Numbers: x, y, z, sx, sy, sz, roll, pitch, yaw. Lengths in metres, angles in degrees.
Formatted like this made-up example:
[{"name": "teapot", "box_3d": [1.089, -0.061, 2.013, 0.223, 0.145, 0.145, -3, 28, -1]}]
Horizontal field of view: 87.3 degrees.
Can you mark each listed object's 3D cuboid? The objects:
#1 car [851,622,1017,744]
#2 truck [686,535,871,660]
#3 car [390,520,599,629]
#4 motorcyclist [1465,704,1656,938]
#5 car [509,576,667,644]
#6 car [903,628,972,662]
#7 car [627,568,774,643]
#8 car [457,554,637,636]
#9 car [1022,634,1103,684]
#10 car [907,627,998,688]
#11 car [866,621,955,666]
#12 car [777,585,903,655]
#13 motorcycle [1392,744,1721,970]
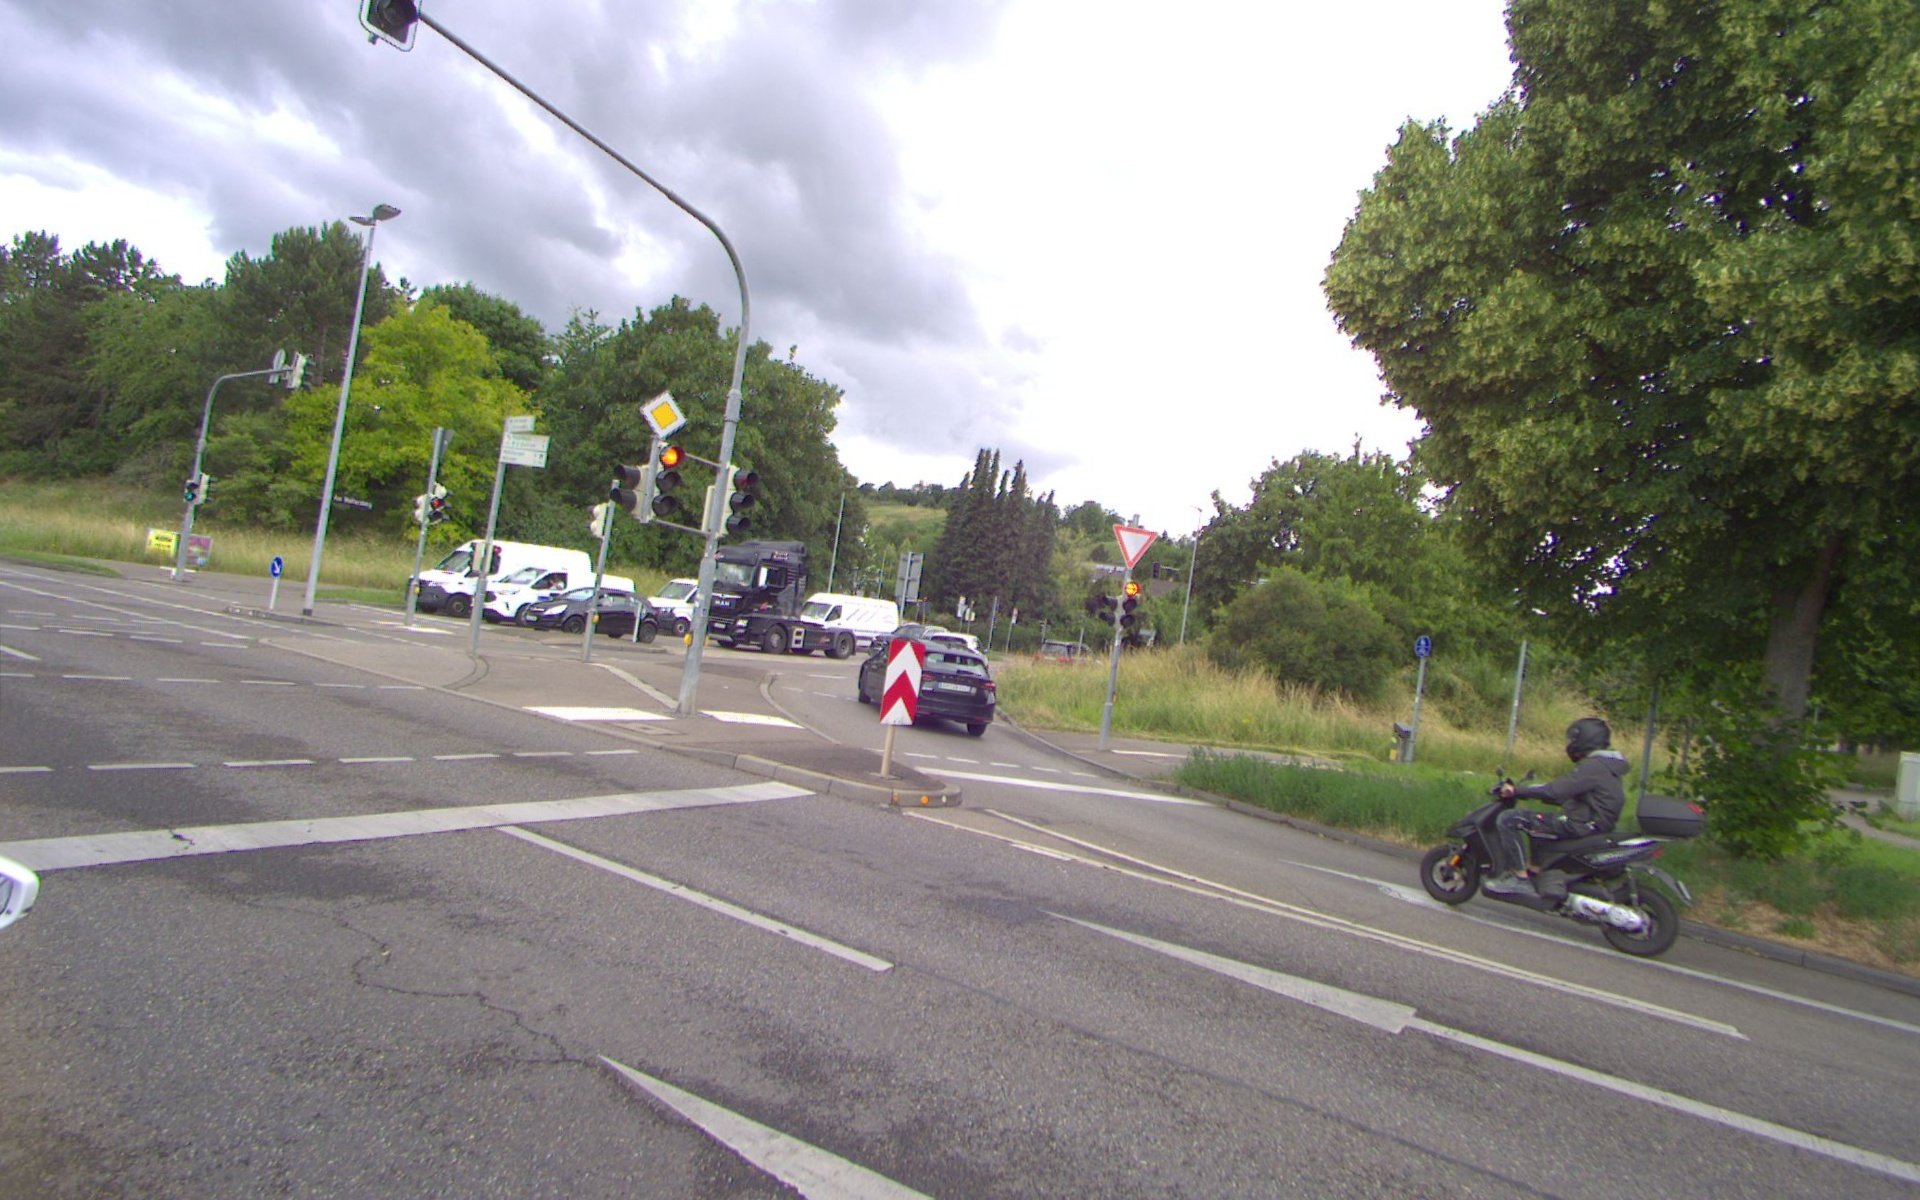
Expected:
[{"name": "car", "box_3d": [-0.628, 1.382, 18.227, 1.760, 1.463, 4.510, 9, 0, -16]}, {"name": "truck", "box_3d": [-6.211, 0.022, 35.345, 2.682, 3.580, 6.061, 7, -1, 32]}, {"name": "car", "box_3d": [-15.335, -0.738, 33.602, 2.100, 2.814, 5.903, 7, -1, 32]}, {"name": "motorcyclist", "box_3d": [4.565, 1.644, 7.655, 0.747, 1.506, 0.921, 11, -2, -44]}, {"name": "car", "box_3d": [-10.605, 0.333, 28.934, 1.703, 1.453, 3.927, 7, -1, 31]}, {"name": "car", "box_3d": [-1.182, 2.460, 54.683, 1.704, 1.453, 3.925, 7, -1, 33]}, {"name": "car", "box_3d": [-10.425, 0.288, 40.909, 2.100, 2.316, 5.709, 7, -1, 32]}, {"name": "car", "box_3d": [-12.932, -0.097, 31.820, 1.999, 1.918, 4.862, 7, -1, 31]}, {"name": "car", "box_3d": [4.295, 2.463, 41.461, 1.755, 1.668, 4.425, 7, -2, 26]}, {"name": "car", "box_3d": [-0.148, 1.704, 30.377, 1.753, 1.460, 3.837, 9, 0, 13]}, {"name": "car", "box_3d": [-2.022, 1.840, 42.139, 1.703, 1.453, 3.927, 7, -1, 31]}, {"name": "car", "box_3d": [-5.666, 1.050, 48.624, 2.160, 2.640, 6.509, 7, -1, 32]}, {"name": "motorcycle", "box_3d": [4.492, 1.875, 7.686, 0.747, 1.159, 1.918, 11, -3, -44]}]
